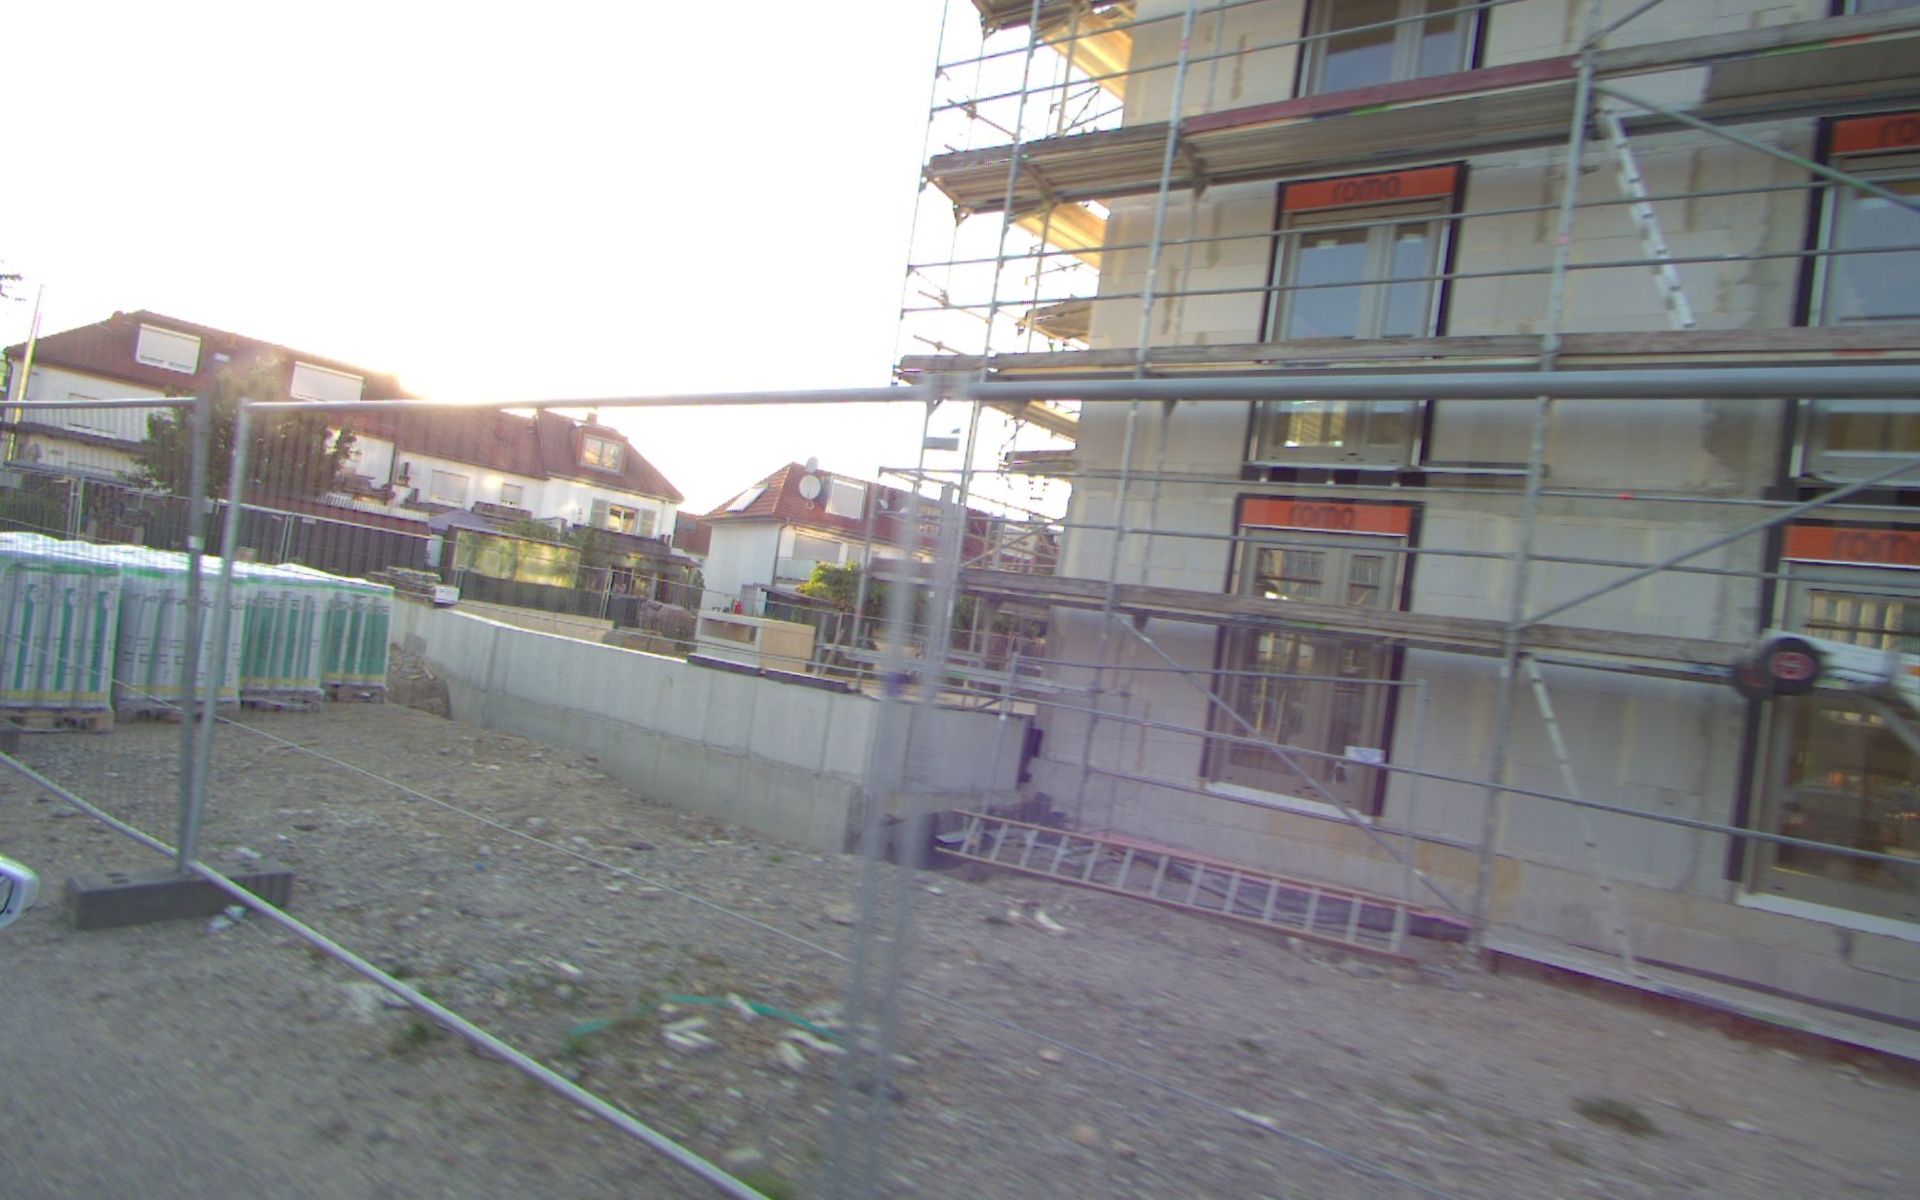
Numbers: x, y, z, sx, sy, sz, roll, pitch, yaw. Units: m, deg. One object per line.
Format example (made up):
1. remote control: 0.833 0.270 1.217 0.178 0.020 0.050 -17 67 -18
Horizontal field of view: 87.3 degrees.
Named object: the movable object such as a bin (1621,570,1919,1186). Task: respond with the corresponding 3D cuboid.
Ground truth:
1. movable object such as a bin: 6.963 1.518 2.909 8.235 2.300 2.067 7 -1 35
